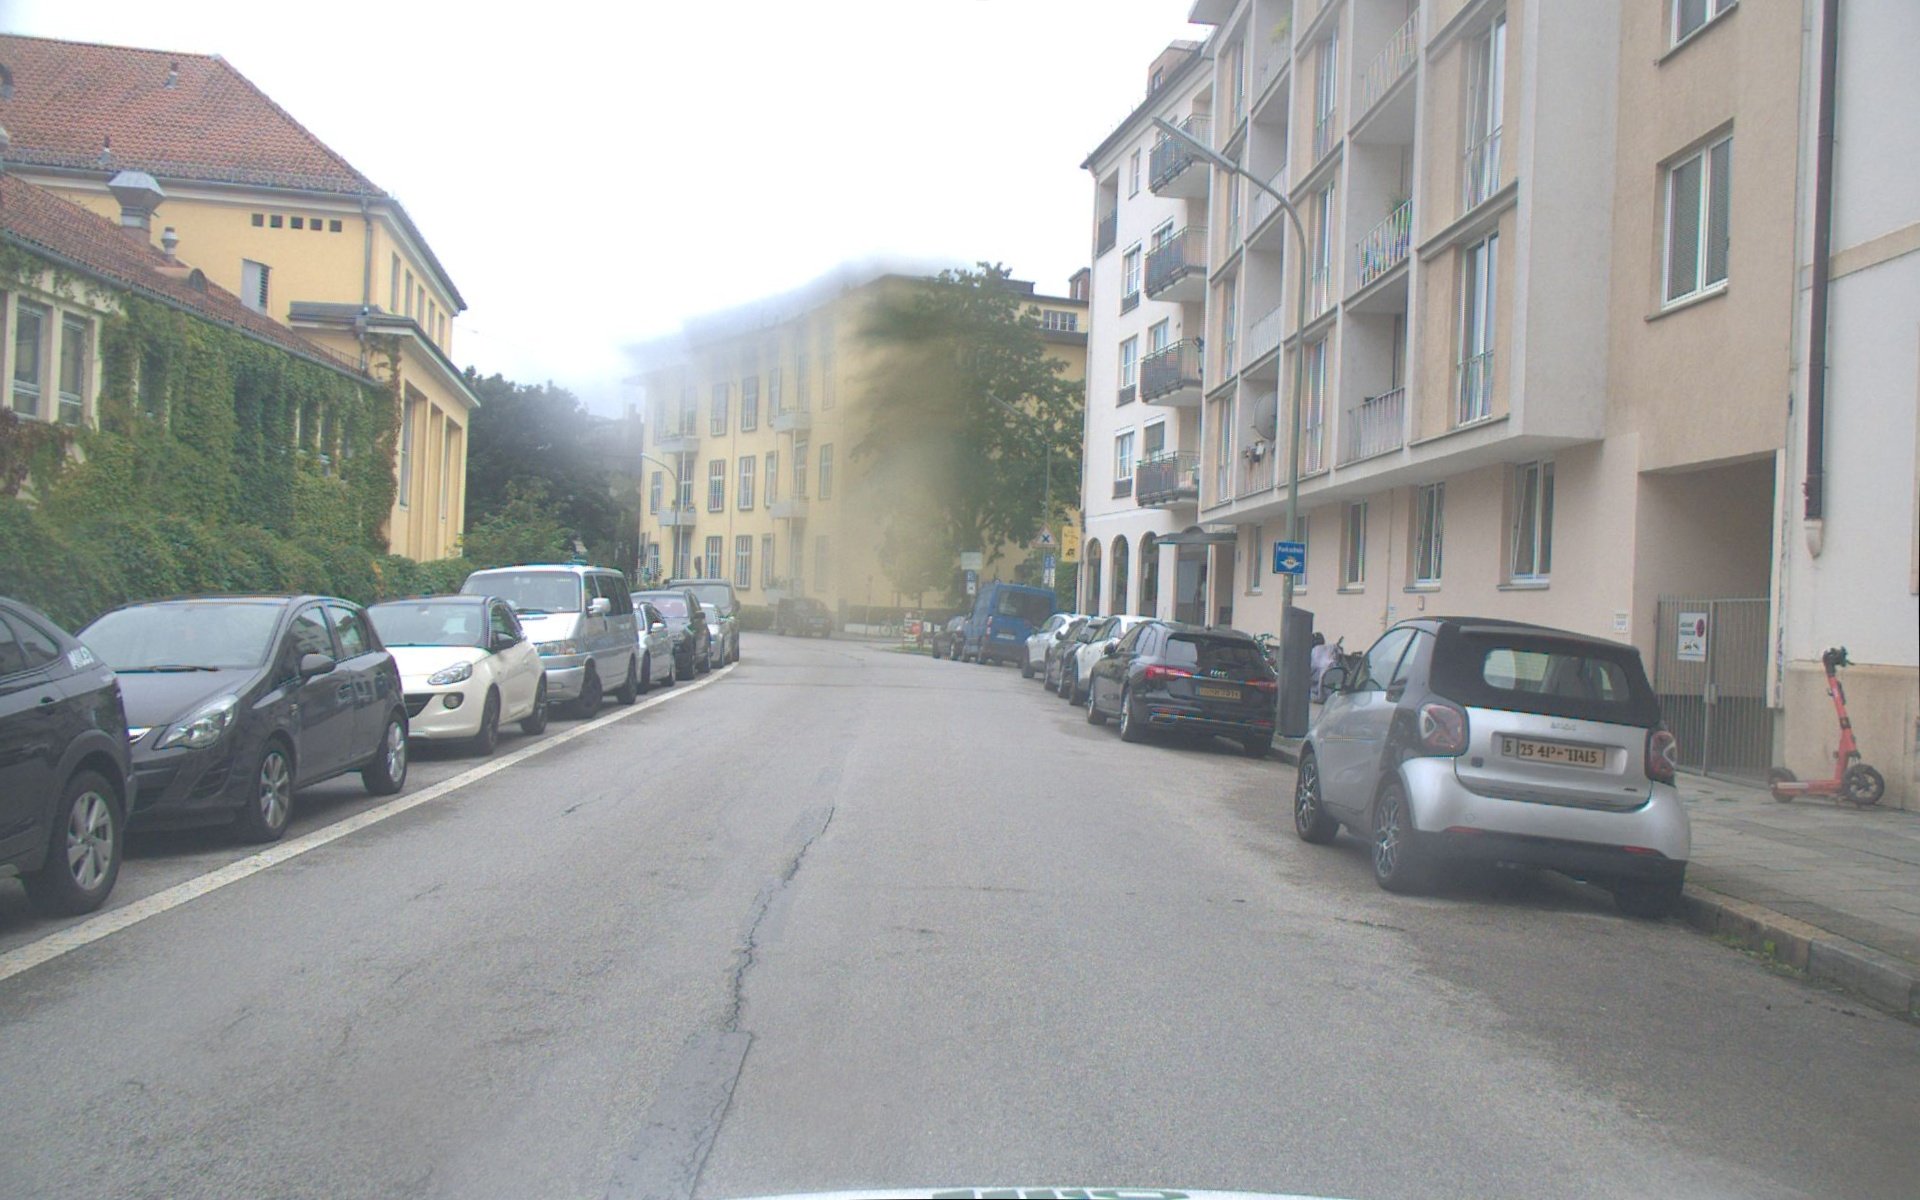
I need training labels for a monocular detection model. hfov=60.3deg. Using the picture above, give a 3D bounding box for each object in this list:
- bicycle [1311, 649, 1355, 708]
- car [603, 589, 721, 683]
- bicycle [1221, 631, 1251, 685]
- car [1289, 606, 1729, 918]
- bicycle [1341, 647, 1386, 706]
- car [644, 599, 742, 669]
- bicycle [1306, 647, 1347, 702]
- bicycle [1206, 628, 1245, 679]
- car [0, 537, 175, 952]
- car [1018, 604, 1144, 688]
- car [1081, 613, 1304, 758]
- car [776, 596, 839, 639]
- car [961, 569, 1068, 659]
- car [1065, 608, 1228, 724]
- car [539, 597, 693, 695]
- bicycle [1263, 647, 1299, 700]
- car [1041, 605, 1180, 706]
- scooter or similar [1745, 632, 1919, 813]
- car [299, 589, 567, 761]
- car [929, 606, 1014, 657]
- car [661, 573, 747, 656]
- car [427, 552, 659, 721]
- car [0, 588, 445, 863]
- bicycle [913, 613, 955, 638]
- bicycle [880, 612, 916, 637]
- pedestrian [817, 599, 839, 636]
[{"bbox_3d":[6.381,1.330,28.330,0.370,0.921,1.391,2,0,-1],"label":"bicycle"},{"bbox_3d":[-5.694,0.647,32.053,1.663,1.671,4.487,-1,0,-3],"label":"car"},{"bbox_3d":[6.065,1.261,36.363,0.370,1.139,1.391,2,0,-1],"label":"bicycle"},{"bbox_3d":[3.219,0.872,10.259,1.617,1.521,2.880,5,0,-2],"label":"car"},{"bbox_3d":[6.816,1.289,27.975,0.370,0.921,1.391,2,0,-1],"label":"bicycle"},{"bbox_3d":[-5.962,0.726,37.351,1.661,1.417,4.498,-2,0,-3],"label":"car"},{"bbox_3d":[6.576,1.324,29.739,0.370,0.921,1.391,2,0,-1],"label":"bicycle"},{"bbox_3d":[6.372,1.276,39.754,0.446,1.130,1.852,2,0,-5],"label":"bicycle"},{"bbox_3d":[-4.648,0.580,5.996,1.690,1.658,4.463,0,0,-3],"label":"car"},{"bbox_3d":[2.579,0.954,36.343,1.752,1.560,4.641,5,0,-7],"label":"car"},{"bbox_3d":[2.797,0.979,21.042,1.711,1.412,4.950,6,0,-4],"label":"car"},{"bbox_3d":[-7.796,0.872,84.198,1.739,1.906,4.347,6,-1,-23],"label":"car"},{"bbox_3d":[1.505,0.464,48.002,2.041,2.272,5.234,6,-3,-8],"label":"car"},{"bbox_3d":[2.817,0.959,25.987,1.661,1.515,4.576,4,0,-4],"label":"car"},{"bbox_3d":[-5.562,0.689,27.297,1.619,1.439,4.769,-1,0,-1],"label":"car"},{"bbox_3d":[5.978,1.352,30.811,0.370,0.921,1.391,1,0,-1],"label":"bicycle"},{"bbox_3d":[2.718,0.962,31.018,1.842,1.548,5.161,5,0,-2],"label":"car"},{"bbox_3d":[7.161,0.974,13.543,0.432,1.382,1.584,2,-3,-13],"label":"scooter or similar"},{"bbox_3d":[-5.032,0.648,16.313,1.559,1.466,4.016,-1,0,-3],"label":"car"},{"bbox_3d":[0.331,0.990,54.100,1.649,1.413,4.290,6,-1,-14],"label":"car"},{"bbox_3d":[-6.520,0.354,42.582,2.034,1.998,5.341,0,0,-7],"label":"car"},{"bbox_3d":[-5.255,0.442,21.520,1.849,1.923,4.772,-1,-1,-1],"label":"car"},{"bbox_3d":[-4.810,0.685,11.066,1.571,1.455,4.249,-1,0,-3],"label":"car"},{"bbox_3d":[-1.305,1.298,84.214,2.023,1.222,0.596,2,0,12],"label":"bicycle"},{"bbox_3d":[-3.199,1.269,85.327,1.889,1.222,0.593,2,0,35],"label":"bicycle"},{"bbox_3d":[-6.754,0.888,84.447,0.862,1.855,0.793,2,0,-23],"label":"pedestrian"}]
